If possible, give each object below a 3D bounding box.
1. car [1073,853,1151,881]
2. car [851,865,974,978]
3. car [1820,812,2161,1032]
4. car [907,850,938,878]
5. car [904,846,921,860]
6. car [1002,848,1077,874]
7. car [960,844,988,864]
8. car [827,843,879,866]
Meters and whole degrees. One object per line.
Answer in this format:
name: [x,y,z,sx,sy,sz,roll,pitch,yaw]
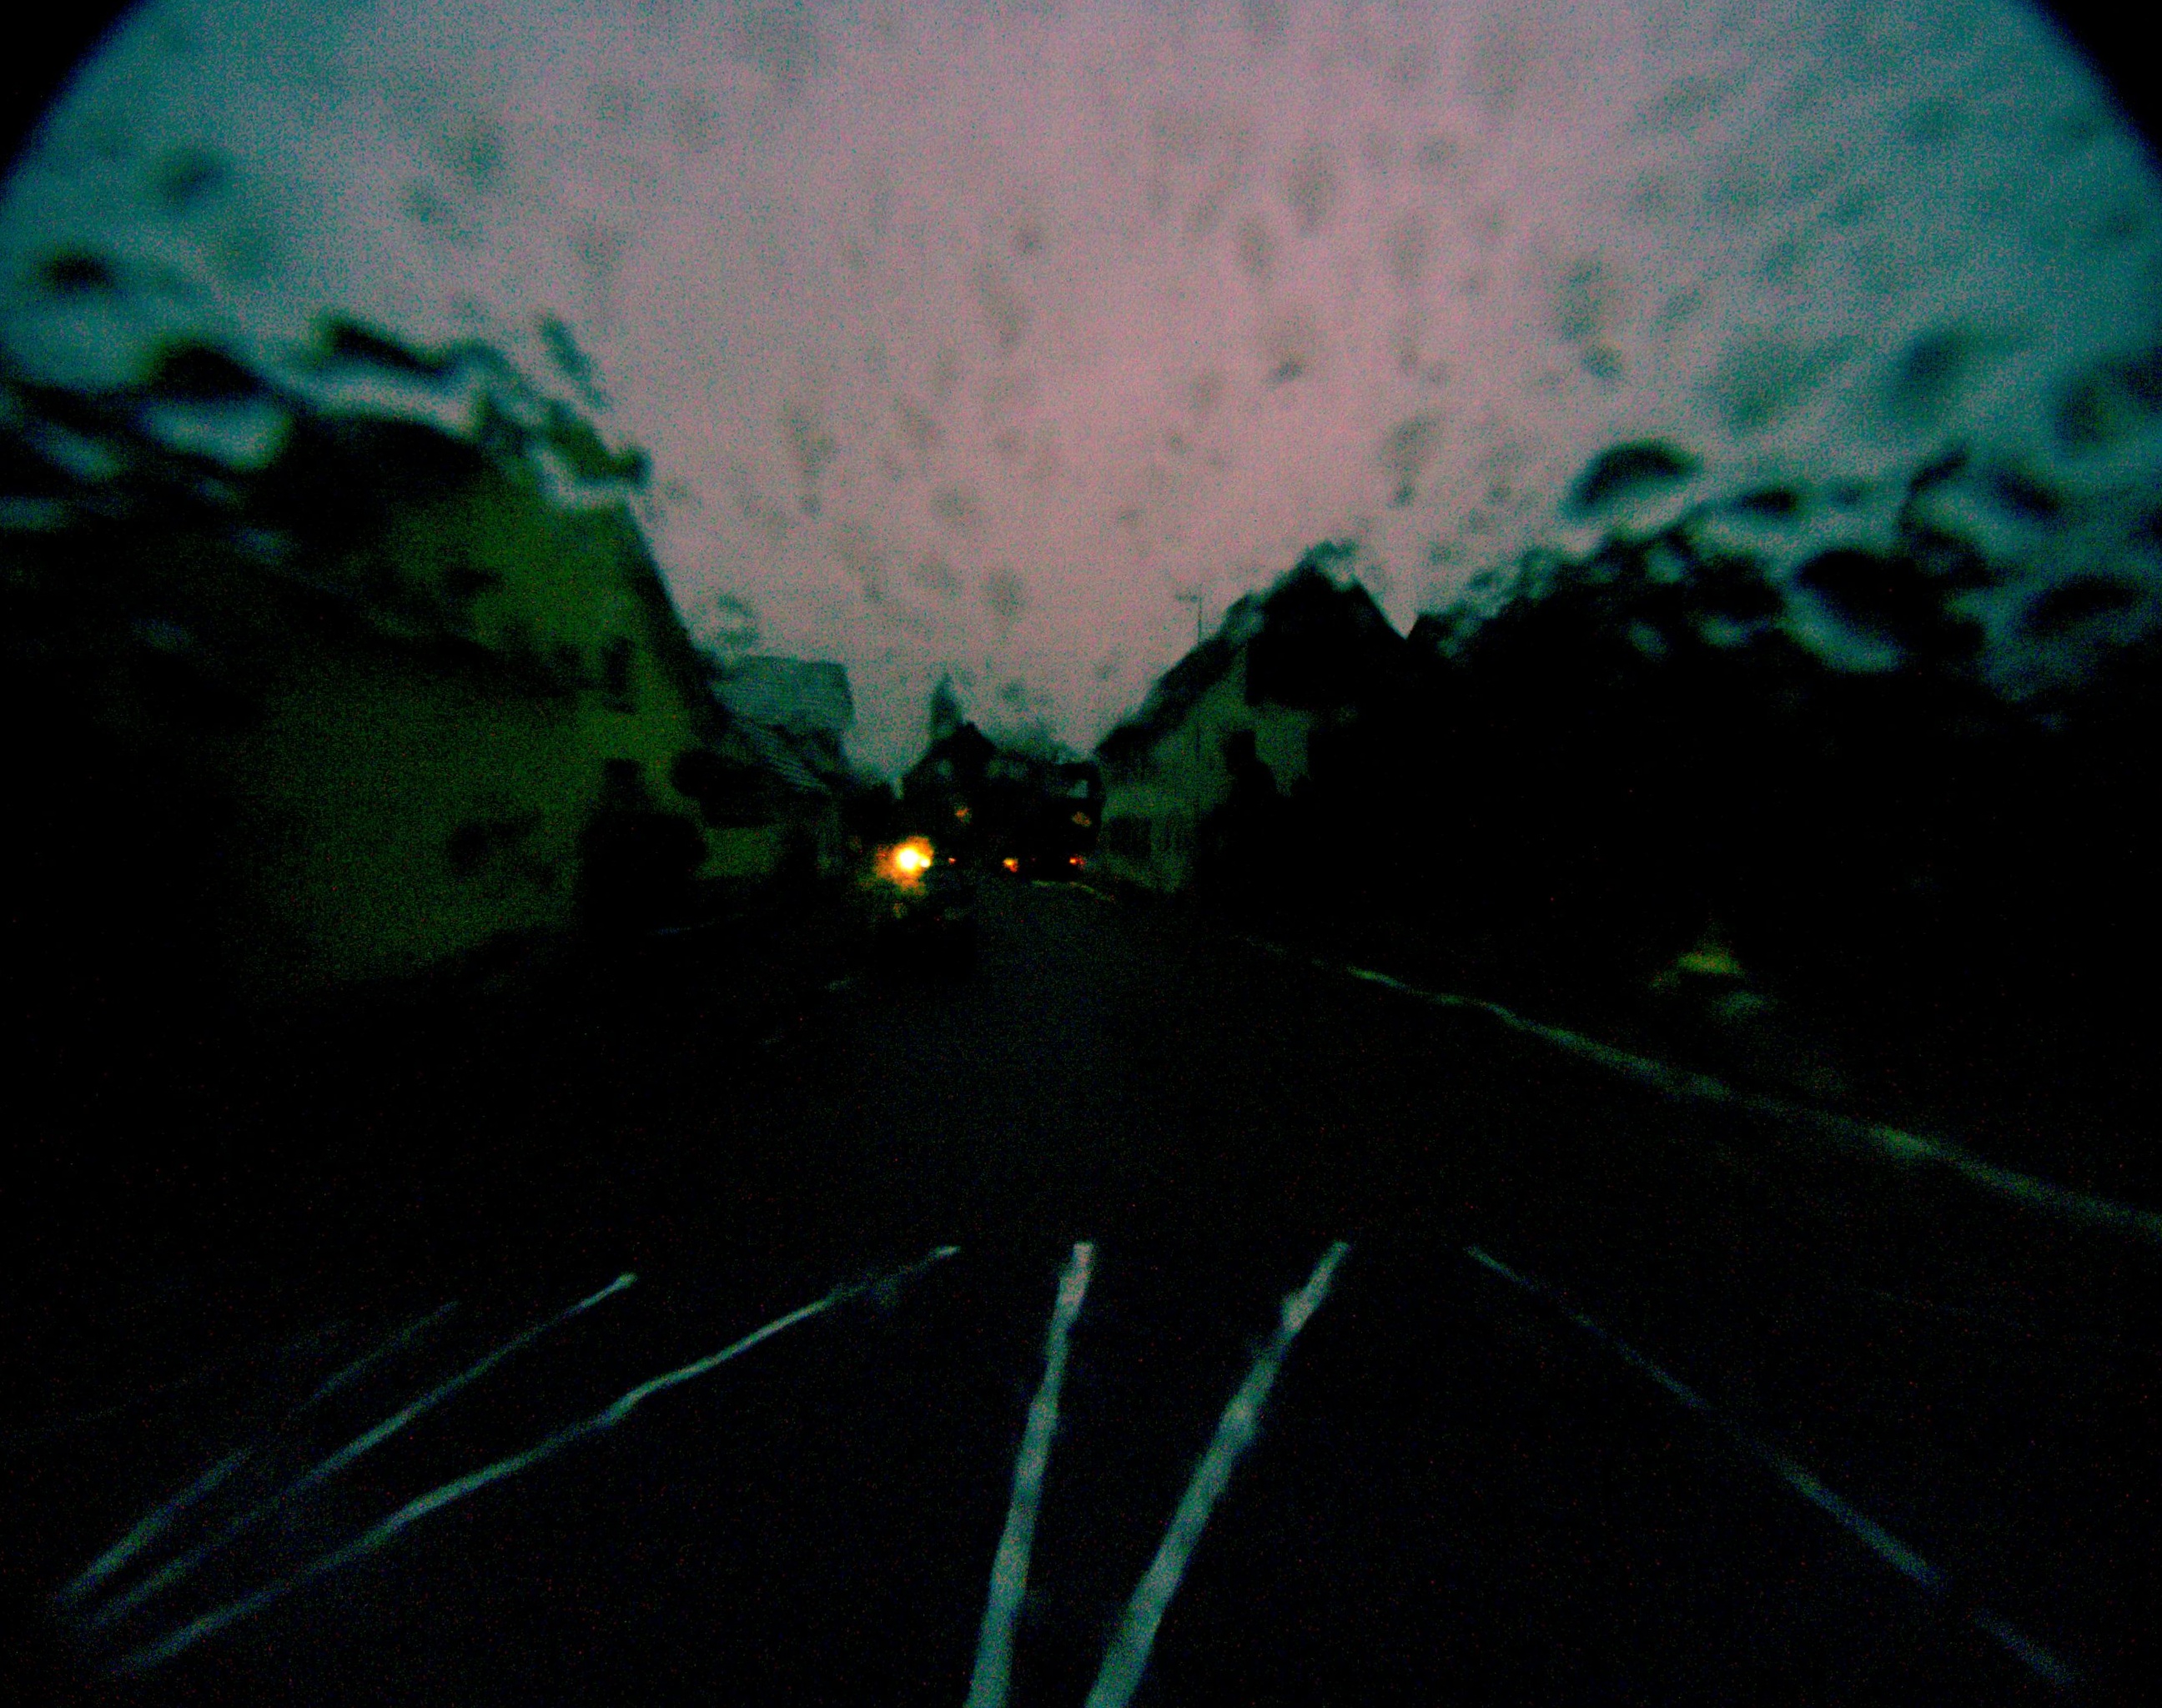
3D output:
car: [1.700,0.709,42.726,2.004,1.417,4.225,-2,2,-42]
car: [-2.862,1.018,13.503,1.732,1.423,4.793,-1,1,-10]
car: [9.317,0.460,7.499,3.640,1.646,1.906,-3,2,-28]
car: [-12.560,0.755,59.993,2.001,2.002,3.993,-2,1,-17]
car: [-19.958,-0.160,90.213,1.766,1.489,3.995,-2,2,-10]
car: [-2.729,0.435,49.930,4.485,1.570,1.996,-2,2,-19]
car: [-9.381,-0.044,66.470,2.001,1.620,3.994,-1,1,-14]
car: [-19.217,0.021,63.958,4.004,1.784,1.996,-2,2,-22]
